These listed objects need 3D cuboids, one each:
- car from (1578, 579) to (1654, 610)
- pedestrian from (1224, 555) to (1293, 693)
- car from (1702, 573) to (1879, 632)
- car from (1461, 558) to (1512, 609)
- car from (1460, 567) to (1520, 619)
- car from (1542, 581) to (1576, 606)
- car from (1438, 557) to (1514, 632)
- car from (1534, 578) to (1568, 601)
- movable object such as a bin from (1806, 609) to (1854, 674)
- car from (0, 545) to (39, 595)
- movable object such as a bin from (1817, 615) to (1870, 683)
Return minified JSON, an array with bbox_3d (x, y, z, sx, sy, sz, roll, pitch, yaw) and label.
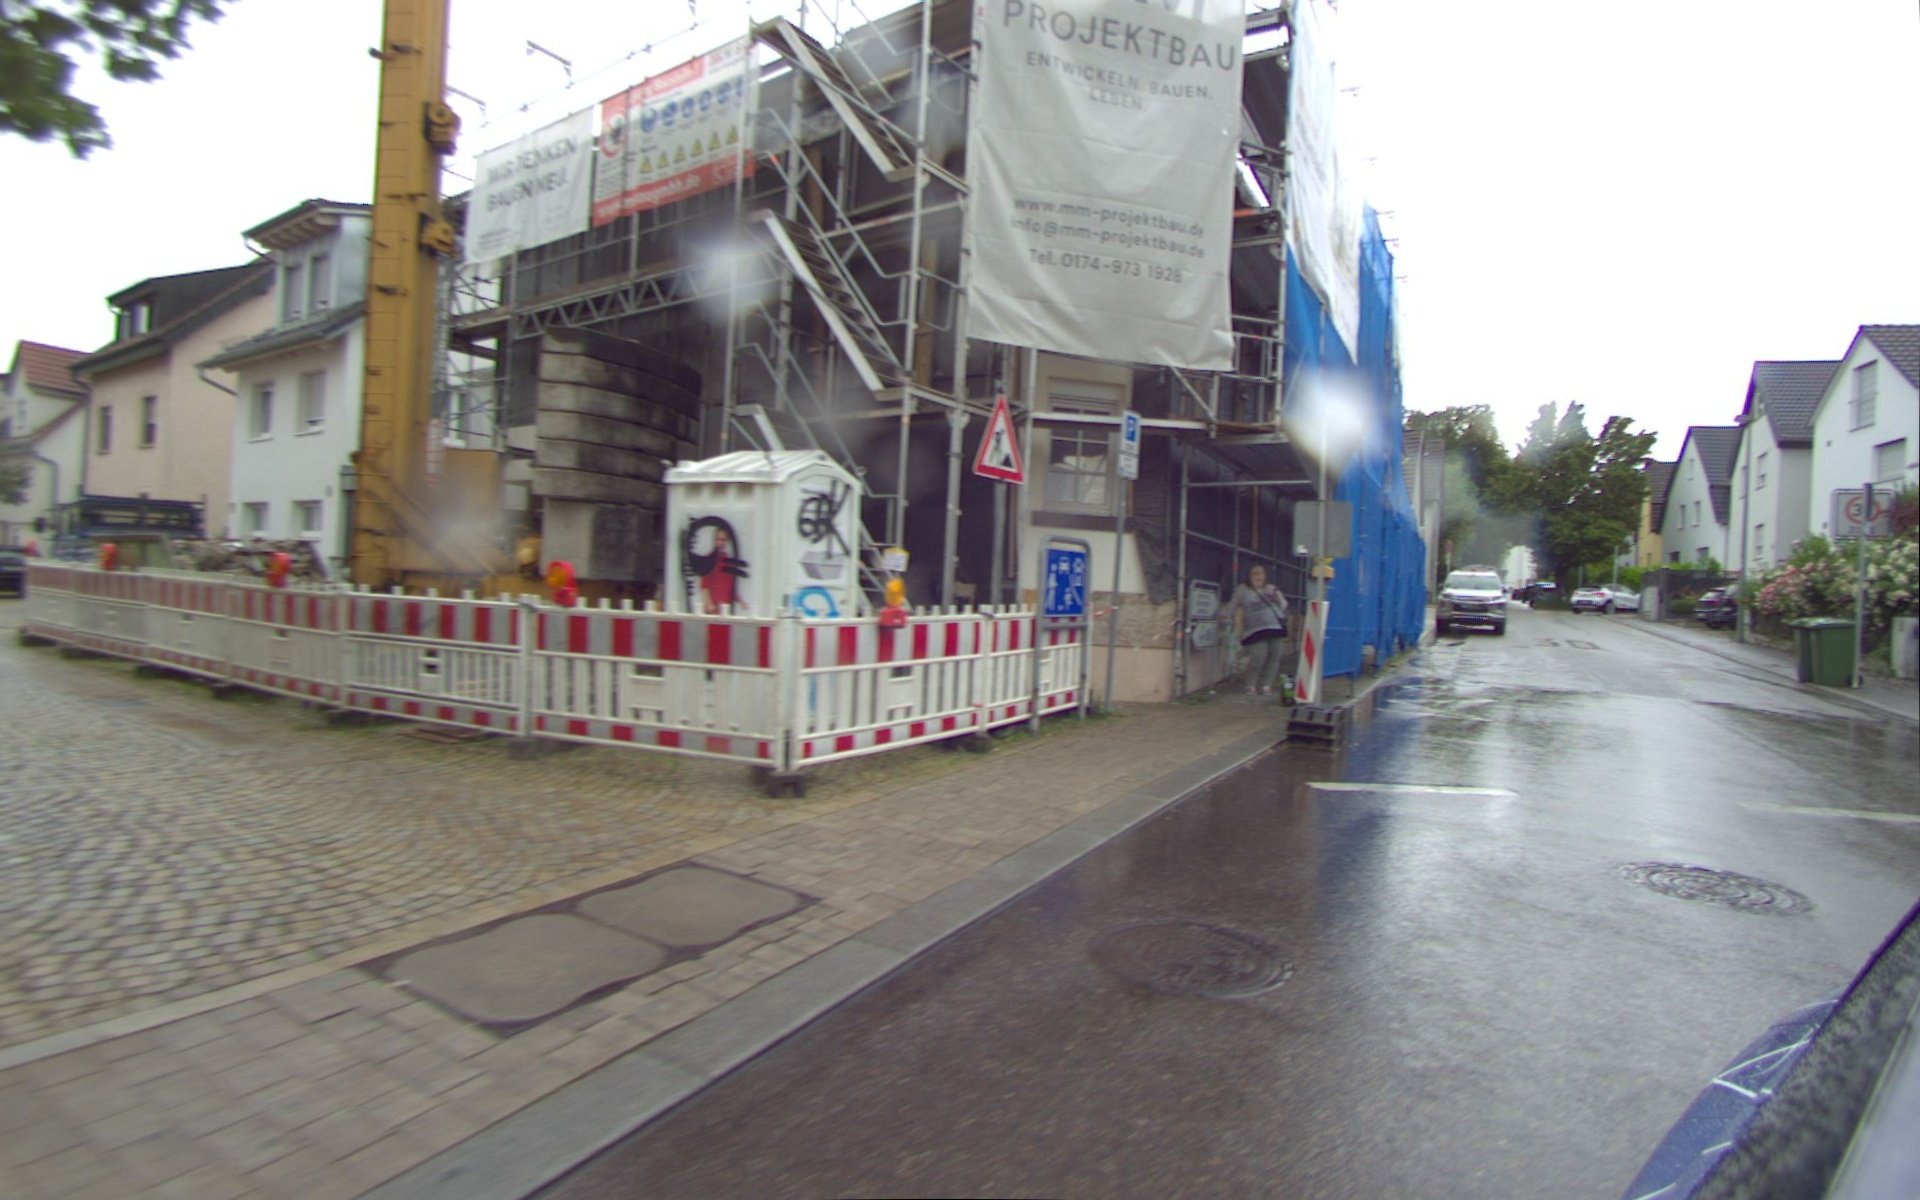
[{"bbox_3d":[32.695,-0.264,50.429,3.605,1.370,1.768,1,3,-33],"label":"car"},{"bbox_3d":[3.626,0.273,12.293,0.650,1.600,0.432,4,2,29],"label":"pedestrian"},{"bbox_3d":[26.760,0.043,32.769,3.947,1.727,1.772,2,2,18],"label":"car"},{"bbox_3d":[23.002,-0.738,44.325,1.693,2.128,3.908,1,1,24],"label":"car"},{"bbox_3d":[20.318,-0.305,38.921,1.810,1.819,4.477,2,2,26],"label":"car"},{"bbox_3d":[39.787,-0.455,67.299,1.595,1.560,3.561,2,2,26],"label":"car"},{"bbox_3d":[15.418,-0.202,30.134,1.813,2.000,4.471,2,2,29],"label":"car"},{"bbox_3d":[41.826,-0.773,71.679,1.693,1.536,3.561,2,2,26],"label":"car"},{"bbox_3d":[14.590,0.694,16.981,0.517,1.063,0.410,-1,0,30],"label":"movable object such as a bin"},{"bbox_3d":[-26.400,-0.851,27.465,3.599,1.305,1.443,2,2,37],"label":"car"},{"bbox_3d":[14.363,0.790,16.458,0.518,1.038,0.410,4,2,30],"label":"movable object such as a bin"}]
